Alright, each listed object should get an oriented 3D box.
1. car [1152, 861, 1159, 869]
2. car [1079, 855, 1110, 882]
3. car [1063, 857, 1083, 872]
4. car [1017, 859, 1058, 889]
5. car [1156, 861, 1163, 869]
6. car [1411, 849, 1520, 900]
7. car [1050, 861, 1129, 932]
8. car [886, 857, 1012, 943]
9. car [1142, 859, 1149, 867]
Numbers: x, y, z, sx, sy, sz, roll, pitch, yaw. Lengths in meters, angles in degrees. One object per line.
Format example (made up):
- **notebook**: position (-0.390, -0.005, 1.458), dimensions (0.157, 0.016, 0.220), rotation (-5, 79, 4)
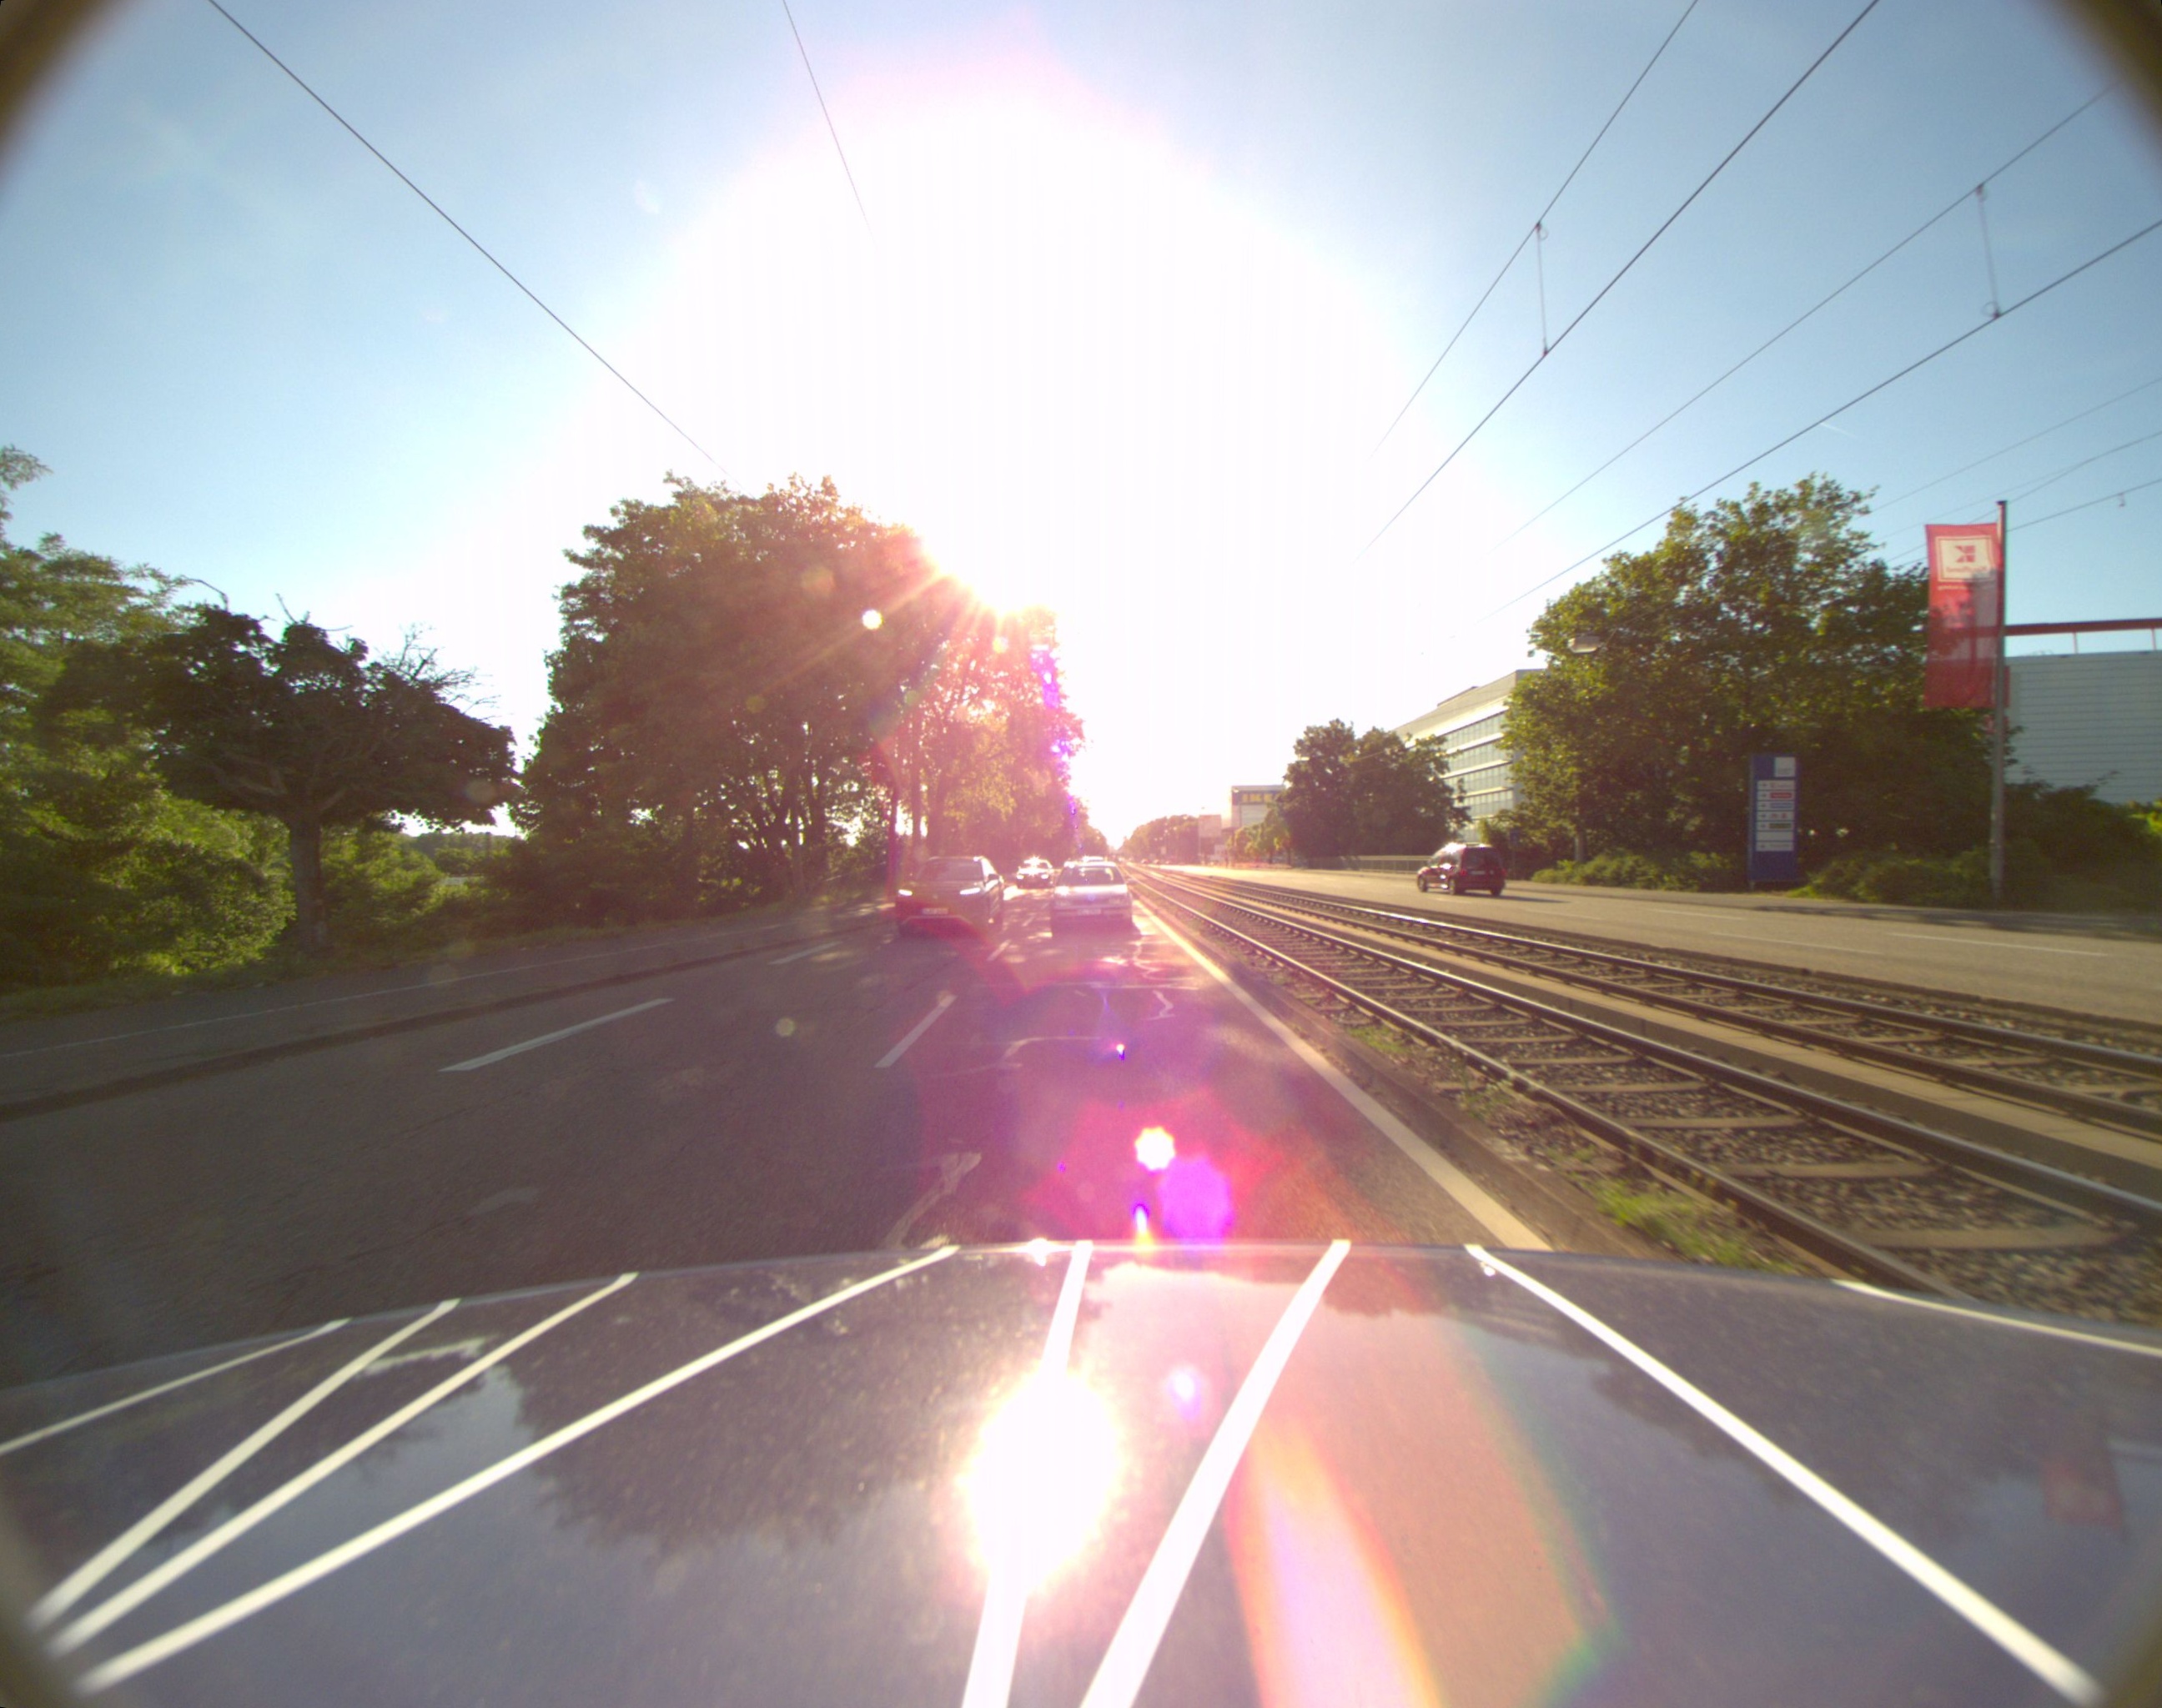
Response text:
- **car**: position (24.143, 3.590, 245.206), dimensions (1.997, 2.281, 4.002), rotation (-3, 0, 7)
- **car**: position (0.930, 0.929, 49.976), dimensions (1.881, 1.591, 4.416), rotation (-1, 1, 2)
- **car**: position (-0.852, 1.142, 80.858), dimensions (1.881, 1.449, 4.417), rotation (-1, 1, 2)
- **car**: position (-2.268, 1.019, 40.623), dimensions (1.874, 1.405, 4.001), rotation (-1, 1, 1)
- **car**: position (23.336, 3.298, 225.057), dimensions (1.997, 2.281, 4.002), rotation (-3, 0, 7)
- **car**: position (14.538, 0.695, 29.065), dimensions (1.998, 1.785, 4.349), rotation (0, 1, 1)
- **car**: position (0.242, 0.957, 18.788), dimensions (1.695, 1.437, 4.001), rotation (-1, 1, 1)
- **car**: position (-2.805, 0.922, 17.174), dimensions (1.881, 1.591, 4.416), rotation (-1, 1, 2)
- **car**: position (20.528, 2.865, 241.434), dimensions (1.997, 2.281, 4.002), rotation (-3, 0, 7)
